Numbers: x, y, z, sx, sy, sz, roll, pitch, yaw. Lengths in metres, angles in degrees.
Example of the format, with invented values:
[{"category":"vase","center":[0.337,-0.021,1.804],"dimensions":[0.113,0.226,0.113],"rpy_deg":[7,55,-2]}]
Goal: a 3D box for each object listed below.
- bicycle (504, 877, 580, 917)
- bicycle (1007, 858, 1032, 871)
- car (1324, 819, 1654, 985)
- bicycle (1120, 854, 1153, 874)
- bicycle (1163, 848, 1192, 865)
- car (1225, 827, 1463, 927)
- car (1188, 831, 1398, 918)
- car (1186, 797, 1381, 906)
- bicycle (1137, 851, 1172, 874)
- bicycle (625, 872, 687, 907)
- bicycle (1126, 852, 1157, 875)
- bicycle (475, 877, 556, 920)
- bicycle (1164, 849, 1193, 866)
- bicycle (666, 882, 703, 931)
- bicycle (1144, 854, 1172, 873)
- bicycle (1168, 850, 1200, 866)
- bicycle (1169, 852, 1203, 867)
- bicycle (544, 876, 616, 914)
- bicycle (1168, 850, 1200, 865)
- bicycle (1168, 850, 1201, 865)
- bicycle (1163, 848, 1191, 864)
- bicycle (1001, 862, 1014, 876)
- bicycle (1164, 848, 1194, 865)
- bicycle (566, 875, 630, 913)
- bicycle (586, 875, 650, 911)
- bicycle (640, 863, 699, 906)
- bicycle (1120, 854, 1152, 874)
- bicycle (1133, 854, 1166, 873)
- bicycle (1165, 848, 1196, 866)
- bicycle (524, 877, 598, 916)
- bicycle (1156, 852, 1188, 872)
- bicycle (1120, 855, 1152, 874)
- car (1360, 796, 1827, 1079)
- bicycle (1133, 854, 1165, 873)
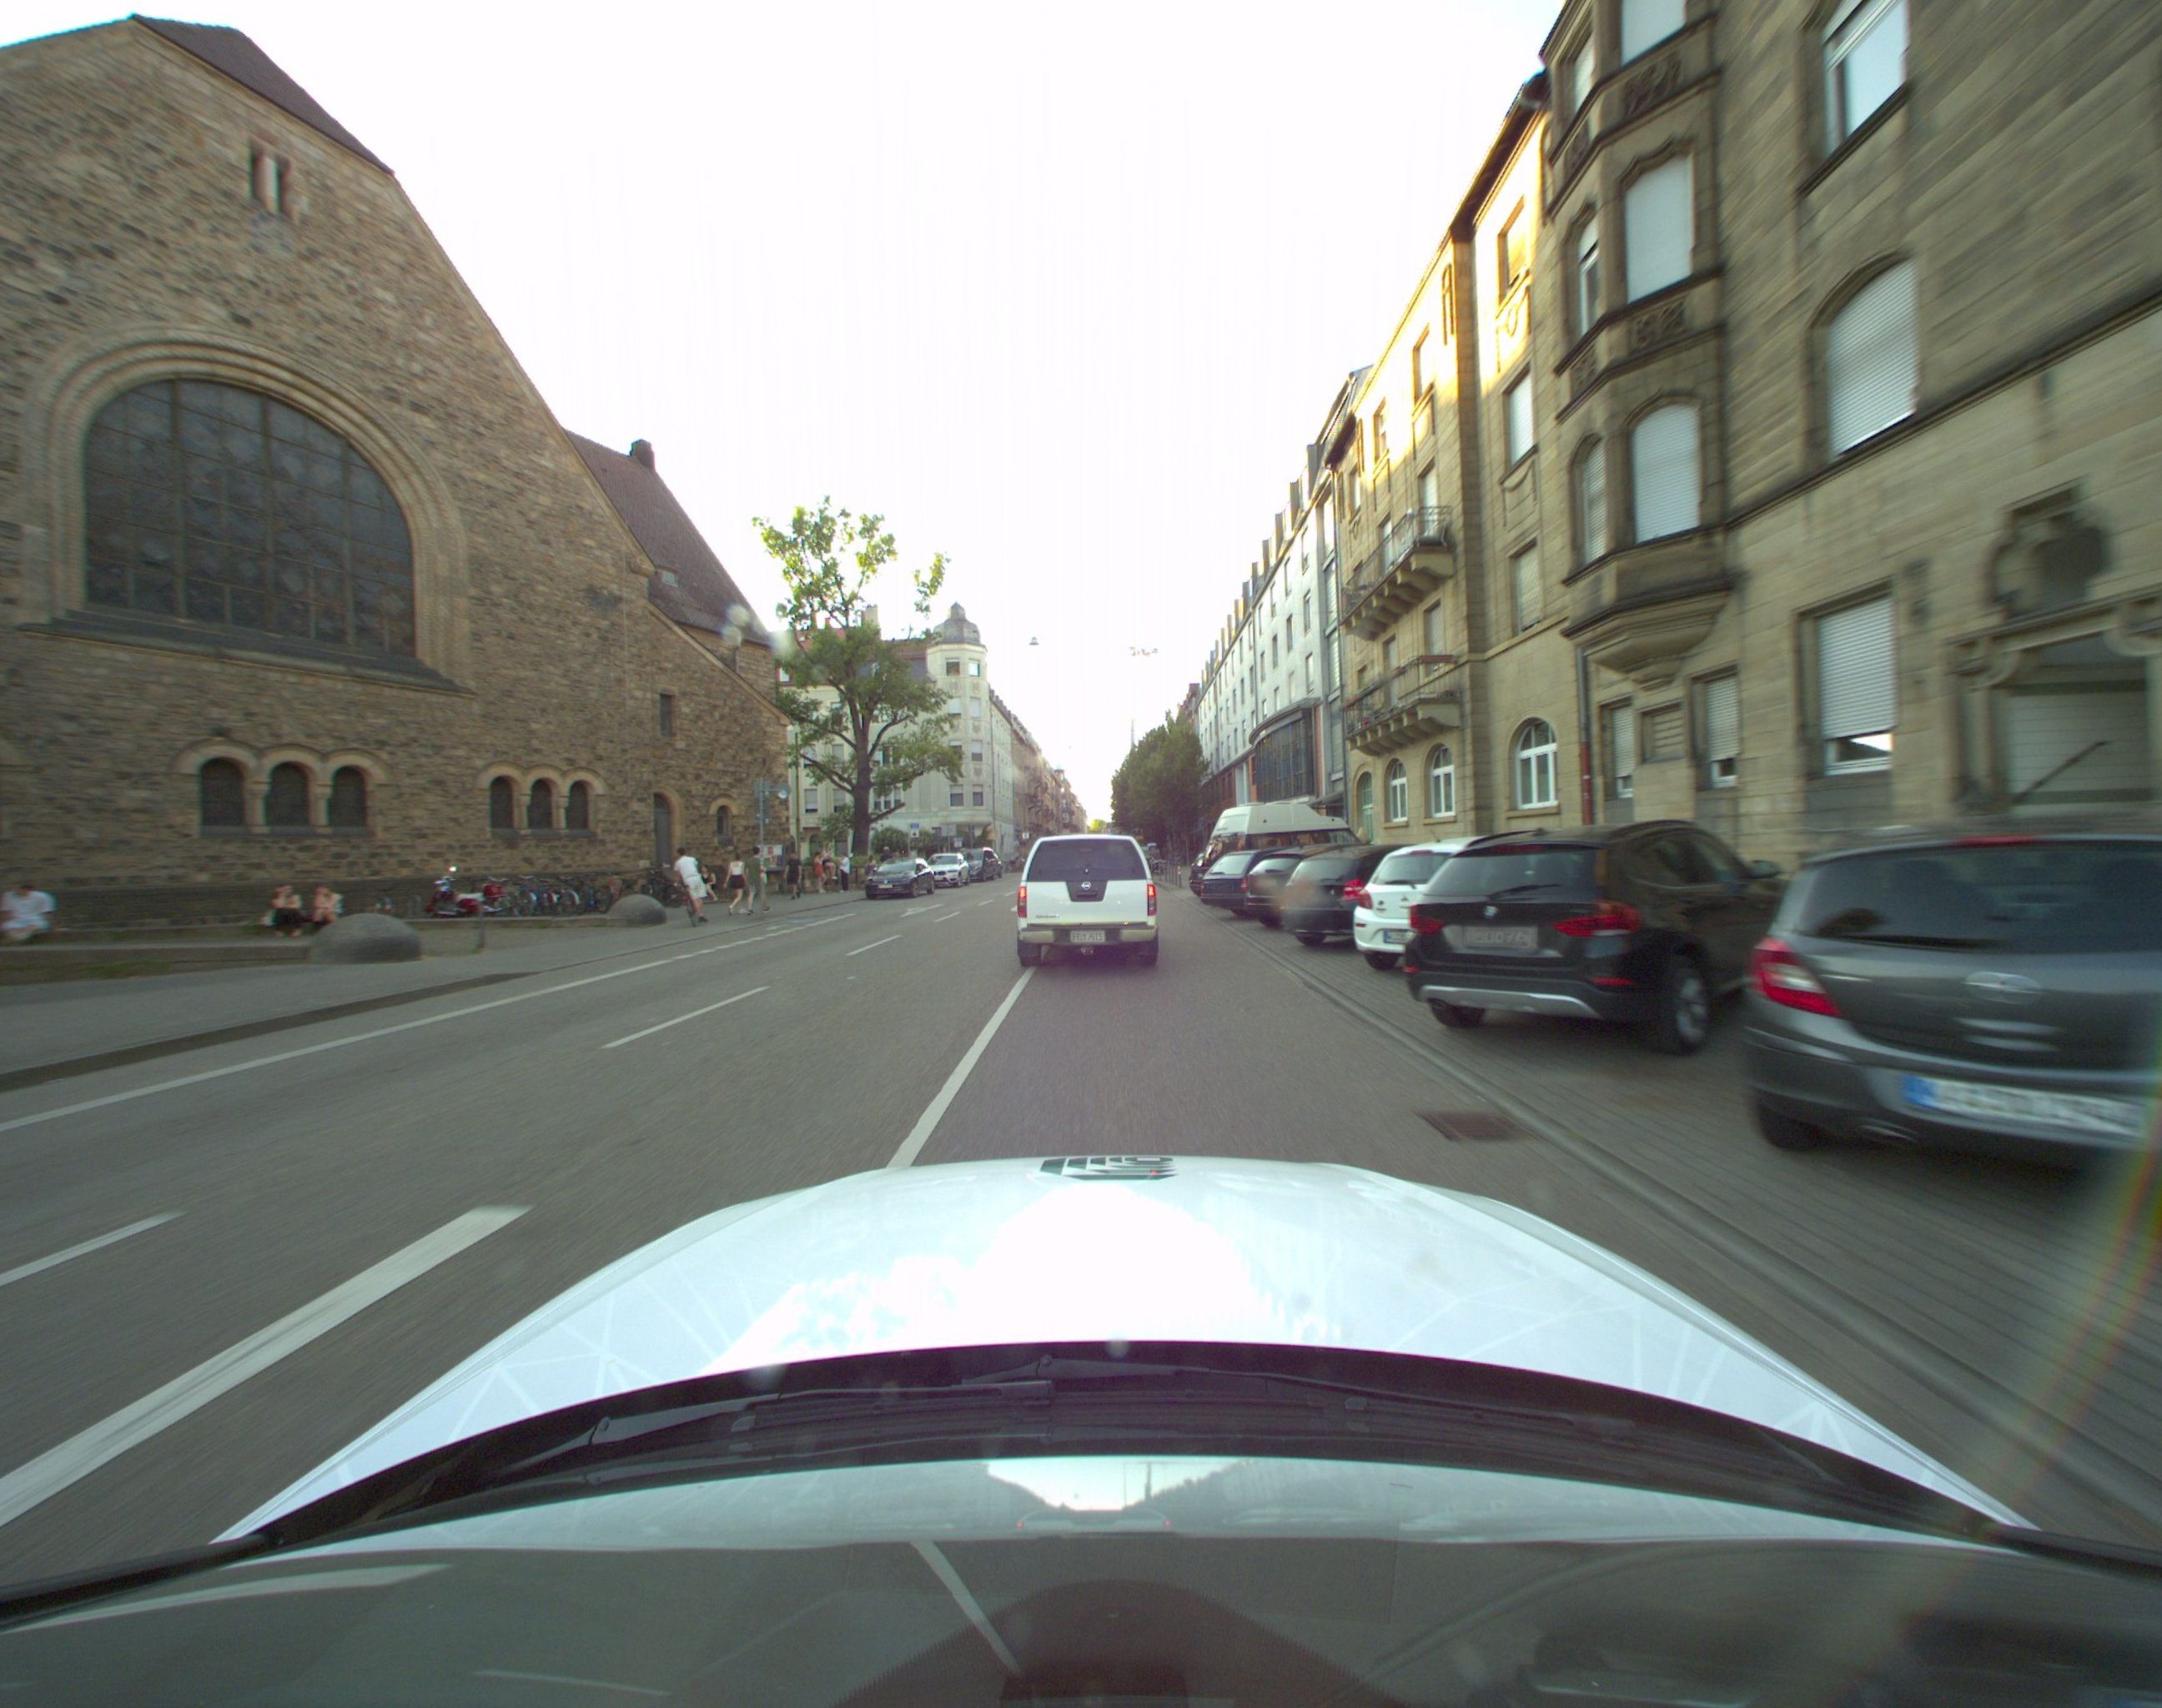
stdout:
[{"category":"bicycle","center":[-14.211,1.143,21.462],"dimensions":[1.986,0.989,0.468],"rpy_deg":[-2,0,17]},{"category":"bicycle","center":[-5.077,0.864,66.948],"dimensions":[2.090,1.094,0.504],"rpy_deg":[-1,1,27]},{"category":"car","center":[5.072,0.467,9.954],"dimensions":[4.074,1.498,1.736],"rpy_deg":[-4,0,-34]},{"category":"bicycle","center":[3.286,0.597,47.914],"dimensions":[1.851,1.038,0.472],"rpy_deg":[-4,0,0]},{"category":"bicycle","center":[8.659,0.223,73.224],"dimensions":[2.523,1.379,0.600],"rpy_deg":[-2,0,4]},{"category":"car","center":[4.979,0.400,15.373],"dimensions":[4.130,1.546,1.779],"rpy_deg":[-3,-2,-26]},{"category":"car","center":[4.746,0.411,18.109],"dimensions":[4.411,1.486,1.826],"rpy_deg":[-5,0,-29]},{"category":"car","center":[5.250,-0.106,21.027],"dimensions":[4.736,2.547,1.901],"rpy_deg":[-2,-1,-27]},{"category":"bicycle","center":[4.175,0.493,46.071],"dimensions":[1.852,1.146,0.659],"rpy_deg":[-5,0,1]},{"category":"bicycle","center":[-12.788,1.076,24.502],"dimensions":[1.864,0.989,0.443],"rpy_deg":[-2,0,17]},{"category":"bicycle","center":[3.466,0.554,46.814],"dimensions":[1.702,1.176,0.472],"rpy_deg":[-4,0,0]},{"category":"bicycle","center":[-14.486,1.127,20.846],"dimensions":[1.986,0.989,0.588],"rpy_deg":[1,1,17]},{"category":"bicycle","center":[8.587,0.281,71.734],"dimensions":[2.523,1.379,0.600],"rpy_deg":[-2,0,4]},{"category":"bicycle","center":[-9.376,1.208,19.231],"dimensions":[0.555,1.012,2.166],"rpy_deg":[0,0,-32]},{"category":"bicycle","center":[4.483,0.549,47.333],"dimensions":[1.534,1.038,0.472],"rpy_deg":[-4,0,0]},{"category":"bicycle","center":[8.356,0.304,66.037],"dimensions":[2.523,1.166,0.563],"rpy_deg":[-2,0,4]},{"category":"bicycle","center":[8.243,0.405,64.144],"dimensions":[2.523,0.959,0.681],"rpy_deg":[-5,0,4]},{"category":"bicycle","center":[-13.809,1.125,22.455],"dimensions":[1.968,0.989,0.468],"rpy_deg":[-2,0,17]},{"category":"bicycle","center":[8.395,0.299,66.648],"dimensions":[2.523,1.166,0.563],"rpy_deg":[-2,0,4]},{"category":"bicycle","center":[8.246,0.275,64.767],"dimensions":[2.523,1.166,0.563],"rpy_deg":[-2,0,4]},{"category":"bicycle","center":[8.862,0.225,75.327],"dimensions":[2.523,1.379,0.600],"rpy_deg":[-2,0,4]},{"category":"bicycle","center":[-5.969,1.197,65.878],"dimensions":[0.420,1.012,1.726],"rpy_deg":[-1,1,16]},{"category":"bicycle","center":[8.493,0.251,70.368],"dimensions":[2.523,1.379,0.600],"rpy_deg":[-2,0,4]},{"category":"bicycle","center":[-13.574,1.128,22.878],"dimensions":[1.864,0.989,0.372],"rpy_deg":[-2,0,17]},{"category":"bicycle","center":[-13.264,1.121,23.334],"dimensions":[1.864,0.989,0.372],"rpy_deg":[-2,0,16]},{"category":"bicycle","center":[-12.615,0.934,24.951],"dimensions":[1.715,1.248,0.439],"rpy_deg":[-2,0,16]},{"category":"bicycle","center":[3.293,0.577,48.965],"dimensions":[1.851,1.066,0.445],"rpy_deg":[-4,0,0]},{"category":"bicycle","center":[4.067,0.552,48.515],"dimensions":[1.851,1.038,0.402],"rpy_deg":[-4,0,0]},{"category":"bicycle","center":[8.490,0.249,69.653],"dimensions":[2.523,1.379,0.600],"rpy_deg":[-2,0,4]},{"category":"bicycle","center":[-14.004,1.137,21.934],"dimensions":[1.986,0.989,0.468],"rpy_deg":[-2,0,17]},{"category":"bicycle","center":[5.491,0.478,49.220],"dimensions":[1.851,1.066,0.524],"rpy_deg":[-4,0,0]},{"category":"bicycle","center":[3.374,0.629,49.713],"dimensions":[1.851,1.066,0.445],"rpy_deg":[-4,0,0]},{"category":"car","center":[4.384,0.446,6.748],"dimensions":[4.117,1.607,1.796],"rpy_deg":[-4,0,-36]},{"category":"bicycle","center":[4.216,0.565,50.385],"dimensions":[1.905,1.066,0.524],"rpy_deg":[-4,0,0]}]
